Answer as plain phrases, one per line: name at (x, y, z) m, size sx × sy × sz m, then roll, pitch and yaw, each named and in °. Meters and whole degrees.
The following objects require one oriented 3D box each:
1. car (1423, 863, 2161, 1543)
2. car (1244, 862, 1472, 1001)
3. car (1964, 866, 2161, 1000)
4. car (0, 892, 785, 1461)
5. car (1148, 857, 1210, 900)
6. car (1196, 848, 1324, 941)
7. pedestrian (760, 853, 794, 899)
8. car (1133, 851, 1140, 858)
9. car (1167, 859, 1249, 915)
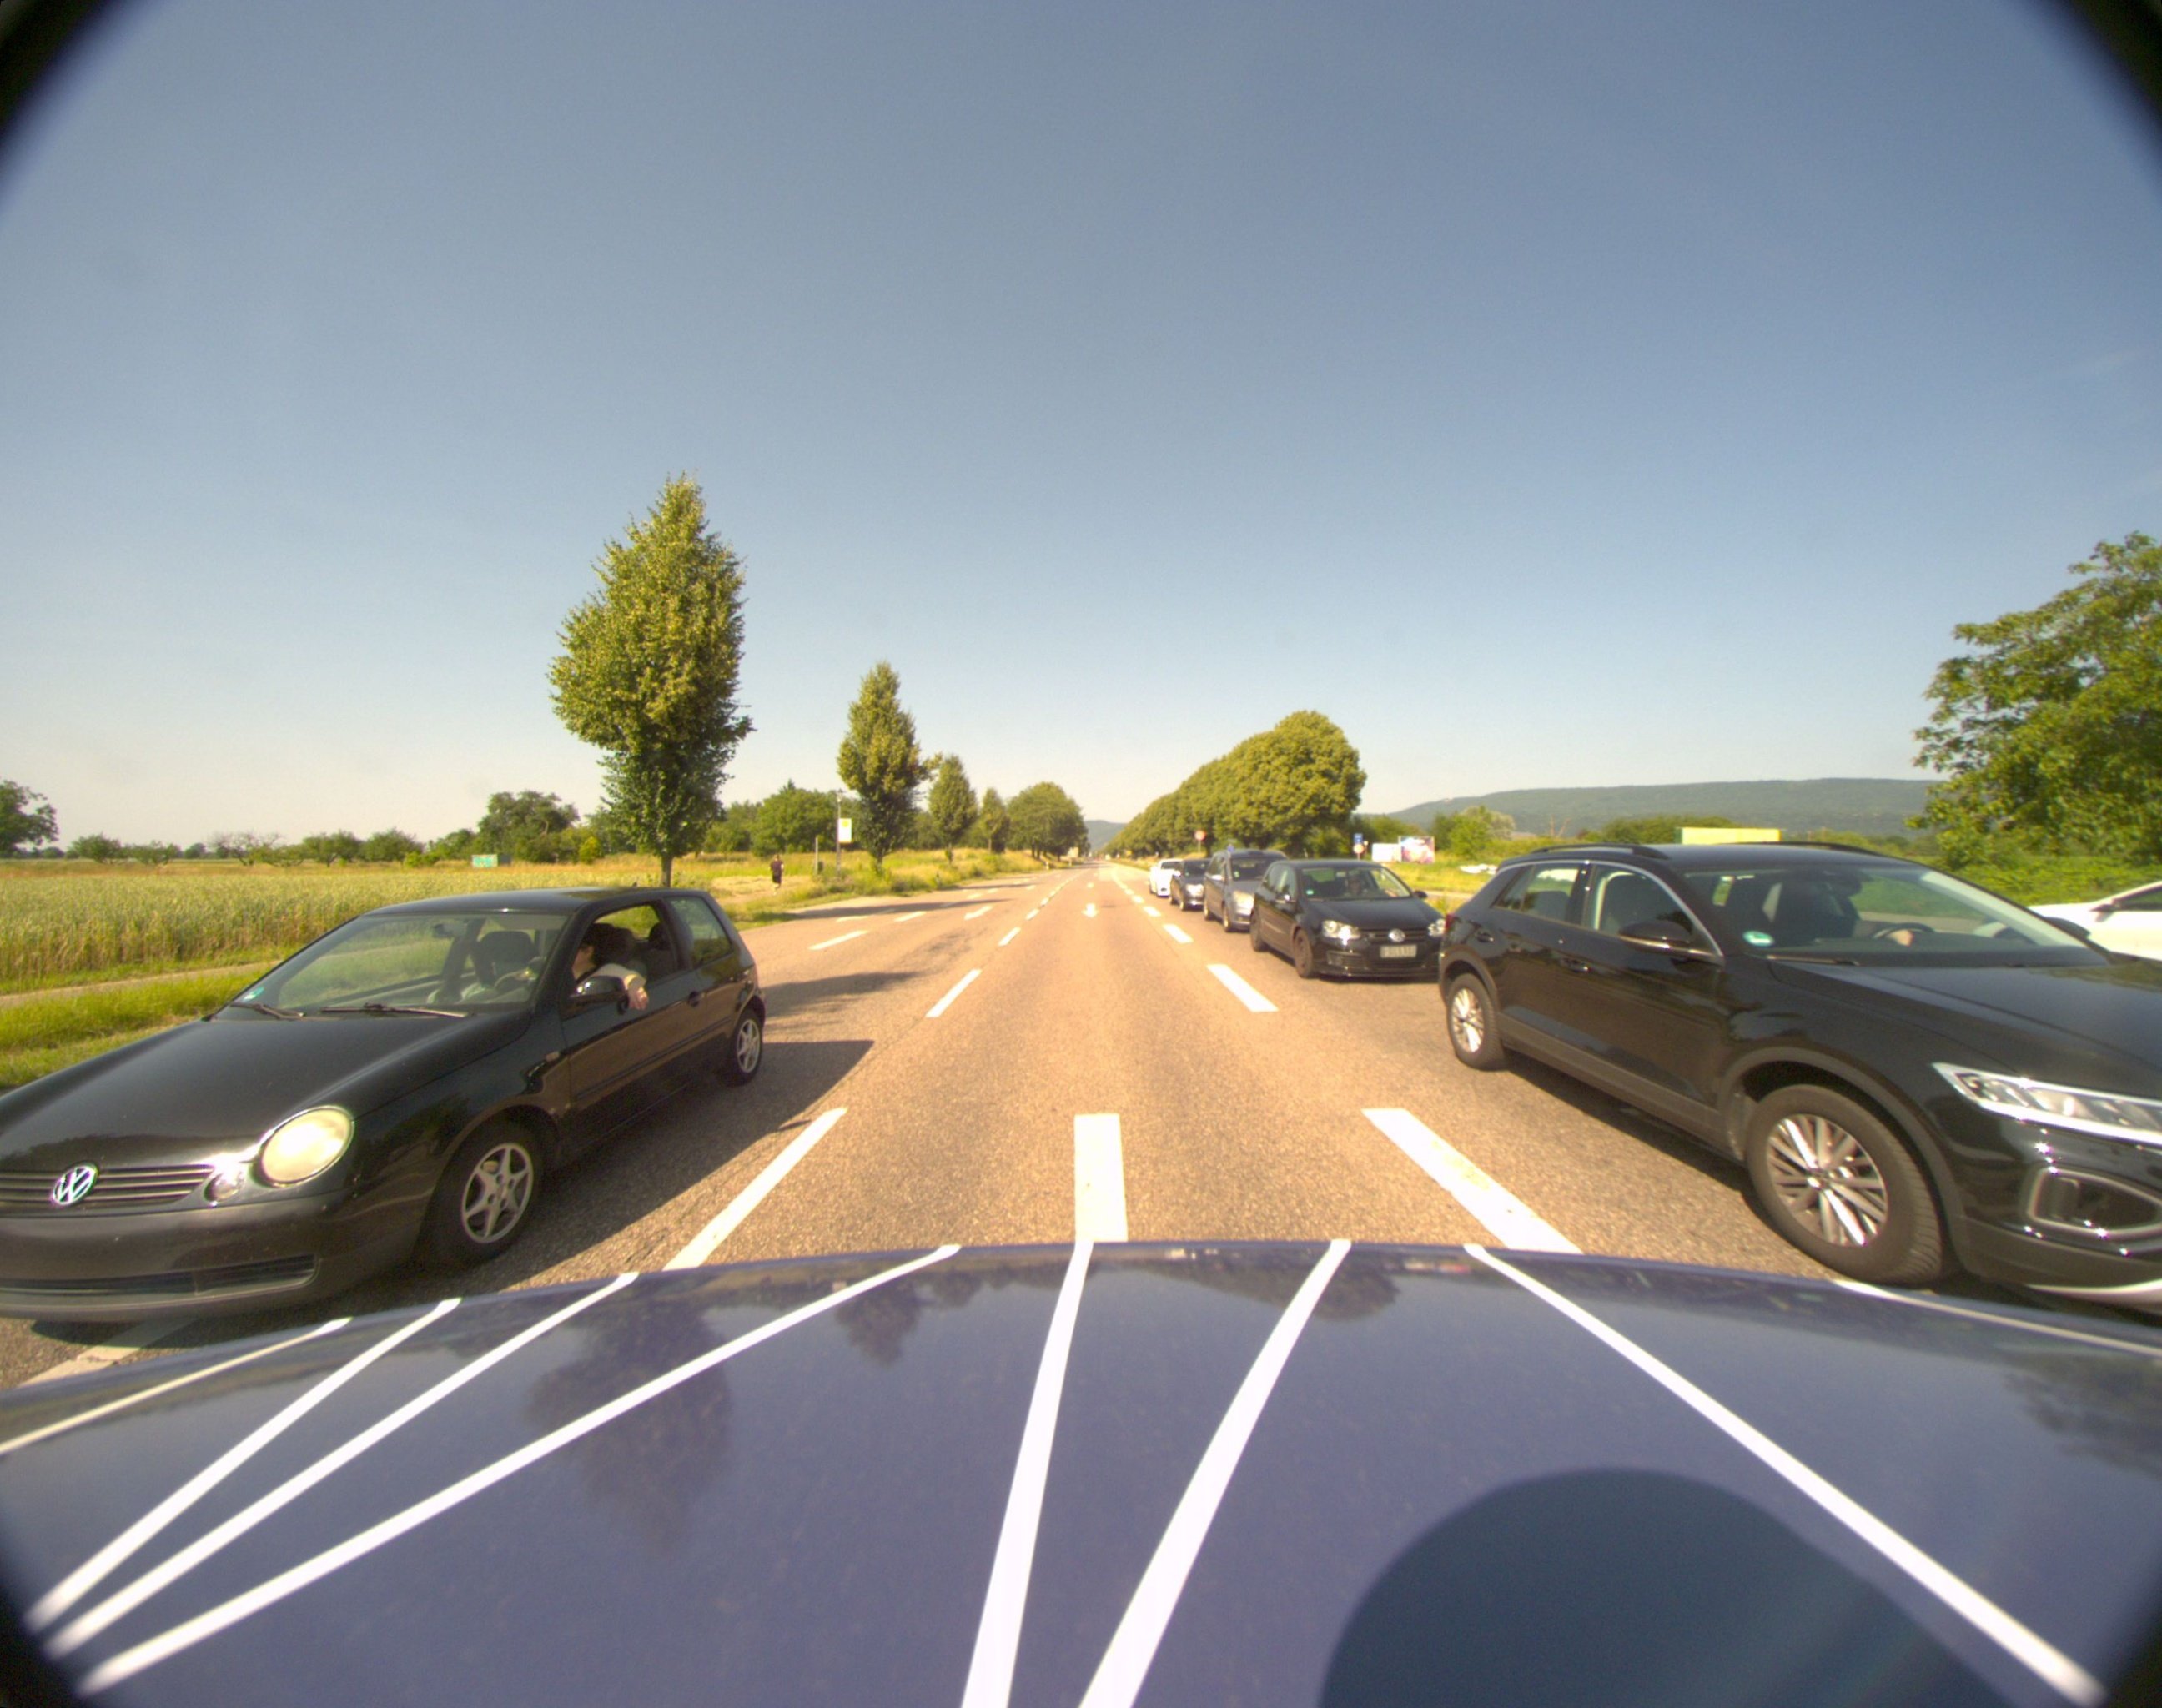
car at (3.454, 0.852, 3.757) m, size 1.733 × 1.538 × 4.098 m, roll -1°, pitch 0°, yaw 1°
car at (3.470, 0.869, 10.359) m, size 1.670 × 1.466 × 4.098 m, roll -1°, pitch 0°, yaw 1°
car at (13.423, 0.970, 8.615) m, size 1.887 × 1.506 × 4.147 m, roll 2°, pitch 0°, yaw -1°
car at (-3.094, 1.031, 3.988) m, size 1.629 × 1.425 × 3.622 m, roll -2°, pitch 0°, yaw 0°
car at (3.639, 0.876, 29.057) m, size 1.808 × 1.417 × 4.641 m, roll -1°, pitch 0°, yaw 1°
car at (3.620, 0.749, 16.139) m, size 1.745 × 1.662 × 4.357 m, roll -1°, pitch 0°, yaw 1°
pedestrian at (-12.334, 0.887, 30.828) m, size 0.904 × 1.828 × 1.194 m, roll 0°, pitch 0°, yaw -1°
car at (16.928, 0.138, 231.420) m, size 1.998 × 1.830 × 4.953 m, roll 2°, pitch 0°, yaw 1°
car at (3.570, 0.873, 22.083) m, size 1.719 × 1.402 × 4.355 m, roll -1°, pitch 0°, yaw 1°
